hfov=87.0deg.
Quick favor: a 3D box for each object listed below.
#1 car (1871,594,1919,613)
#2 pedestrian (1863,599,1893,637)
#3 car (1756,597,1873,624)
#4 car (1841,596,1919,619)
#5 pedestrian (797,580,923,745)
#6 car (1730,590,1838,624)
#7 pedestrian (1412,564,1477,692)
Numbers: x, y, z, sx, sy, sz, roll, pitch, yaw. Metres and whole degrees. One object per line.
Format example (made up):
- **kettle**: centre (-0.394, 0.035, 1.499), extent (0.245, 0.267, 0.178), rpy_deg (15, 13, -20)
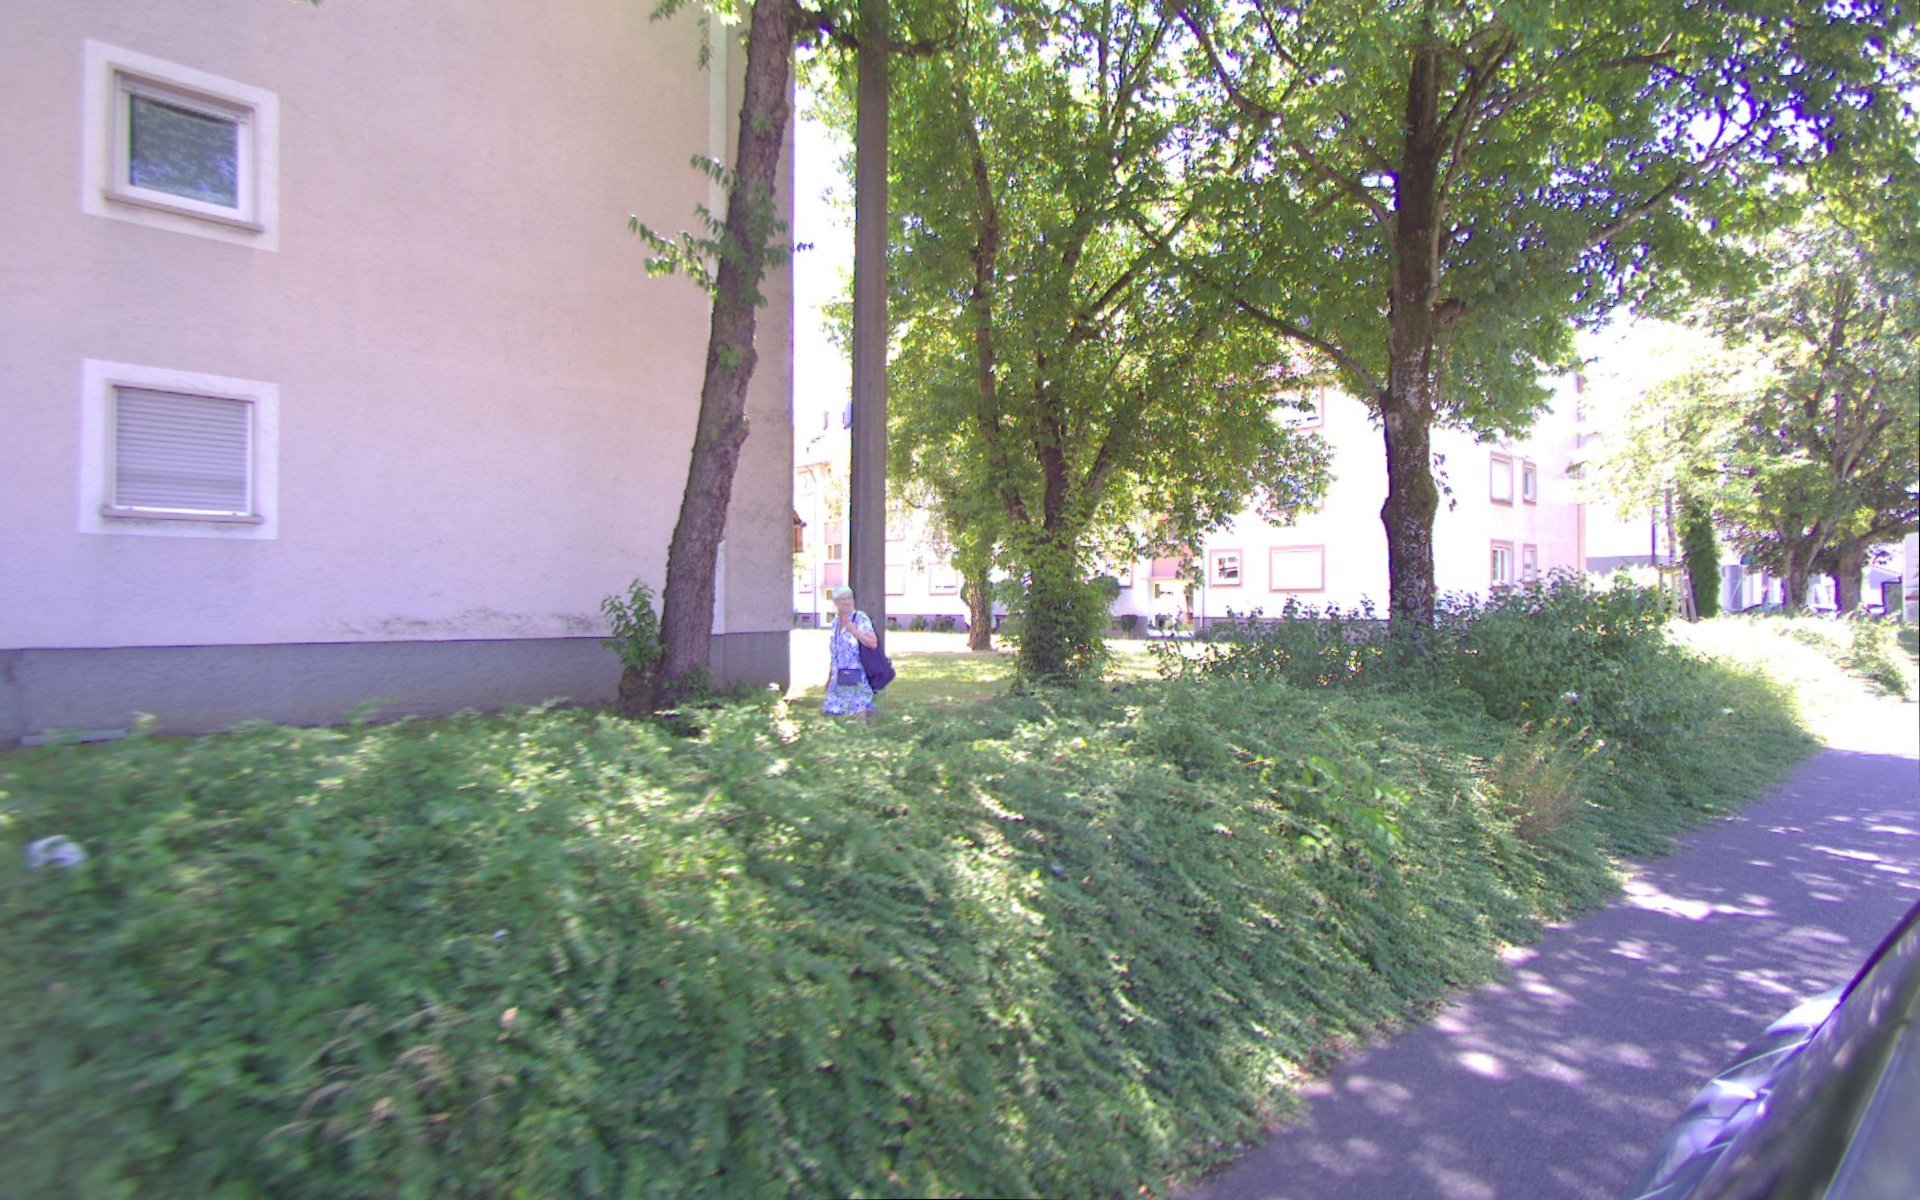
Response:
- **car**: centre (75.258, 0.295, 80.292), extent (1.768, 1.479, 4.007), rpy_deg (0, 1, -25)
- **pedestrian**: centre (41.719, 0.803, 46.001), extent (0.991, 1.662, 0.842), rpy_deg (0, 0, -36)
- **car**: centre (44.914, 0.527, 53.321), extent (4.315, 1.388, 1.937), rpy_deg (0, 0, 27)
- **car**: centre (69.719, 0.536, 76.289), extent (1.958, 1.662, 4.606), rpy_deg (0, 1, -21)
- **pedestrian**: centre (-0.873, 0.509, 8.860), extent (0.873, 1.351, 0.663), rpy_deg (0, 0, -41)
- **car**: centre (41.758, 0.302, 51.325), extent (1.766, 1.569, 3.995), rpy_deg (0, 2, -41)
- **pedestrian**: centre (7.589, 0.423, 15.865), extent (0.648, 1.938, 0.705), rpy_deg (0, 0, -38)
